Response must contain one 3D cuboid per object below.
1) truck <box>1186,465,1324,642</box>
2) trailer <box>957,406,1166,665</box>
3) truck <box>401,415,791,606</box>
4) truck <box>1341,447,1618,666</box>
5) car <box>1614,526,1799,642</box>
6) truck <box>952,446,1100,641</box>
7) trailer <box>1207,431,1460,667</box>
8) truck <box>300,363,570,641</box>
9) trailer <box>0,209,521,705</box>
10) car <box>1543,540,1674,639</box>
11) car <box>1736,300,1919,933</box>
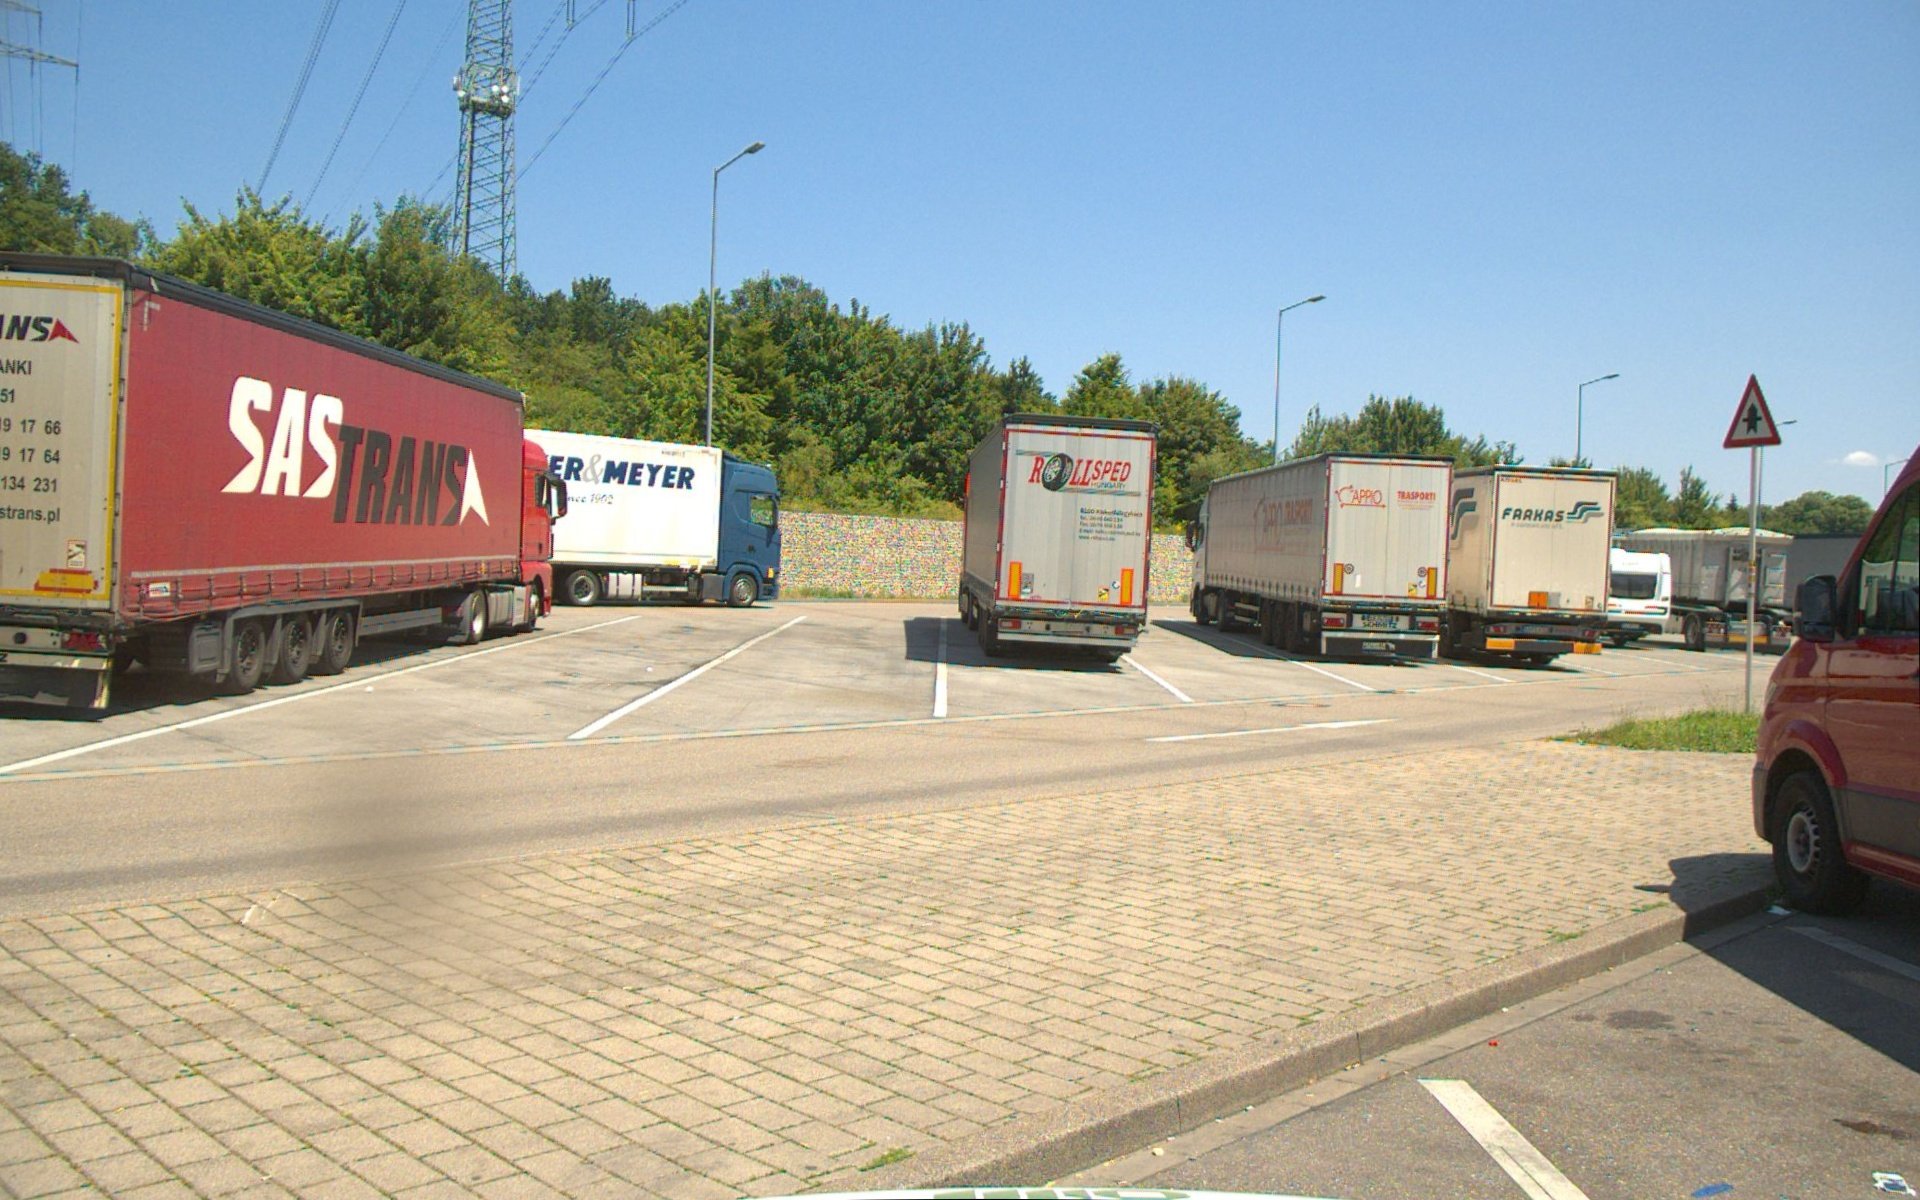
[{"bbox_3d":[8.024,-1.257,45.629,2.607,4.530,5.863,1,1,-1],"label":"truck"},{"bbox_3d":[1.620,-1.130,32.080,2.839,4.083,11.312,1,1,-2],"label":"trailer"},{"bbox_3d":[-8.752,-2.013,41.346,2.203,4.104,9.989,2,0,43],"label":"truck"},{"bbox_3d":[11.721,-0.836,38.885,2.534,4.299,11.967,1,0,-1],"label":"truck"},{"bbox_3d":[21.707,-0.498,48.483,2.448,3.128,6.350,1,1,-1],"label":"car"},{"bbox_3d":[1.379,-1.242,37.764,2.814,4.050,6.027,1,1,-3],"label":"truck"},{"bbox_3d":[8.179,-1.102,38.389,2.627,4.530,12.826,1,1,-1],"label":"trailer"},{"bbox_3d":[-8.721,-1.554,28.231,2.748,4.205,5.893,1,1,-1],"label":"truck"},{"bbox_3d":[-8.634,-1.372,20.976,2.743,4.293,13.200,1,1,-1],"label":"trailer"},{"bbox_3d":[18.241,-0.270,46.725,2.072,2.645,3.999,1,0,-1],"label":"car"},{"bbox_3d":[4.972,0.104,5.569,1.952,2.679,6.385,1,1,3],"label":"car"}]
